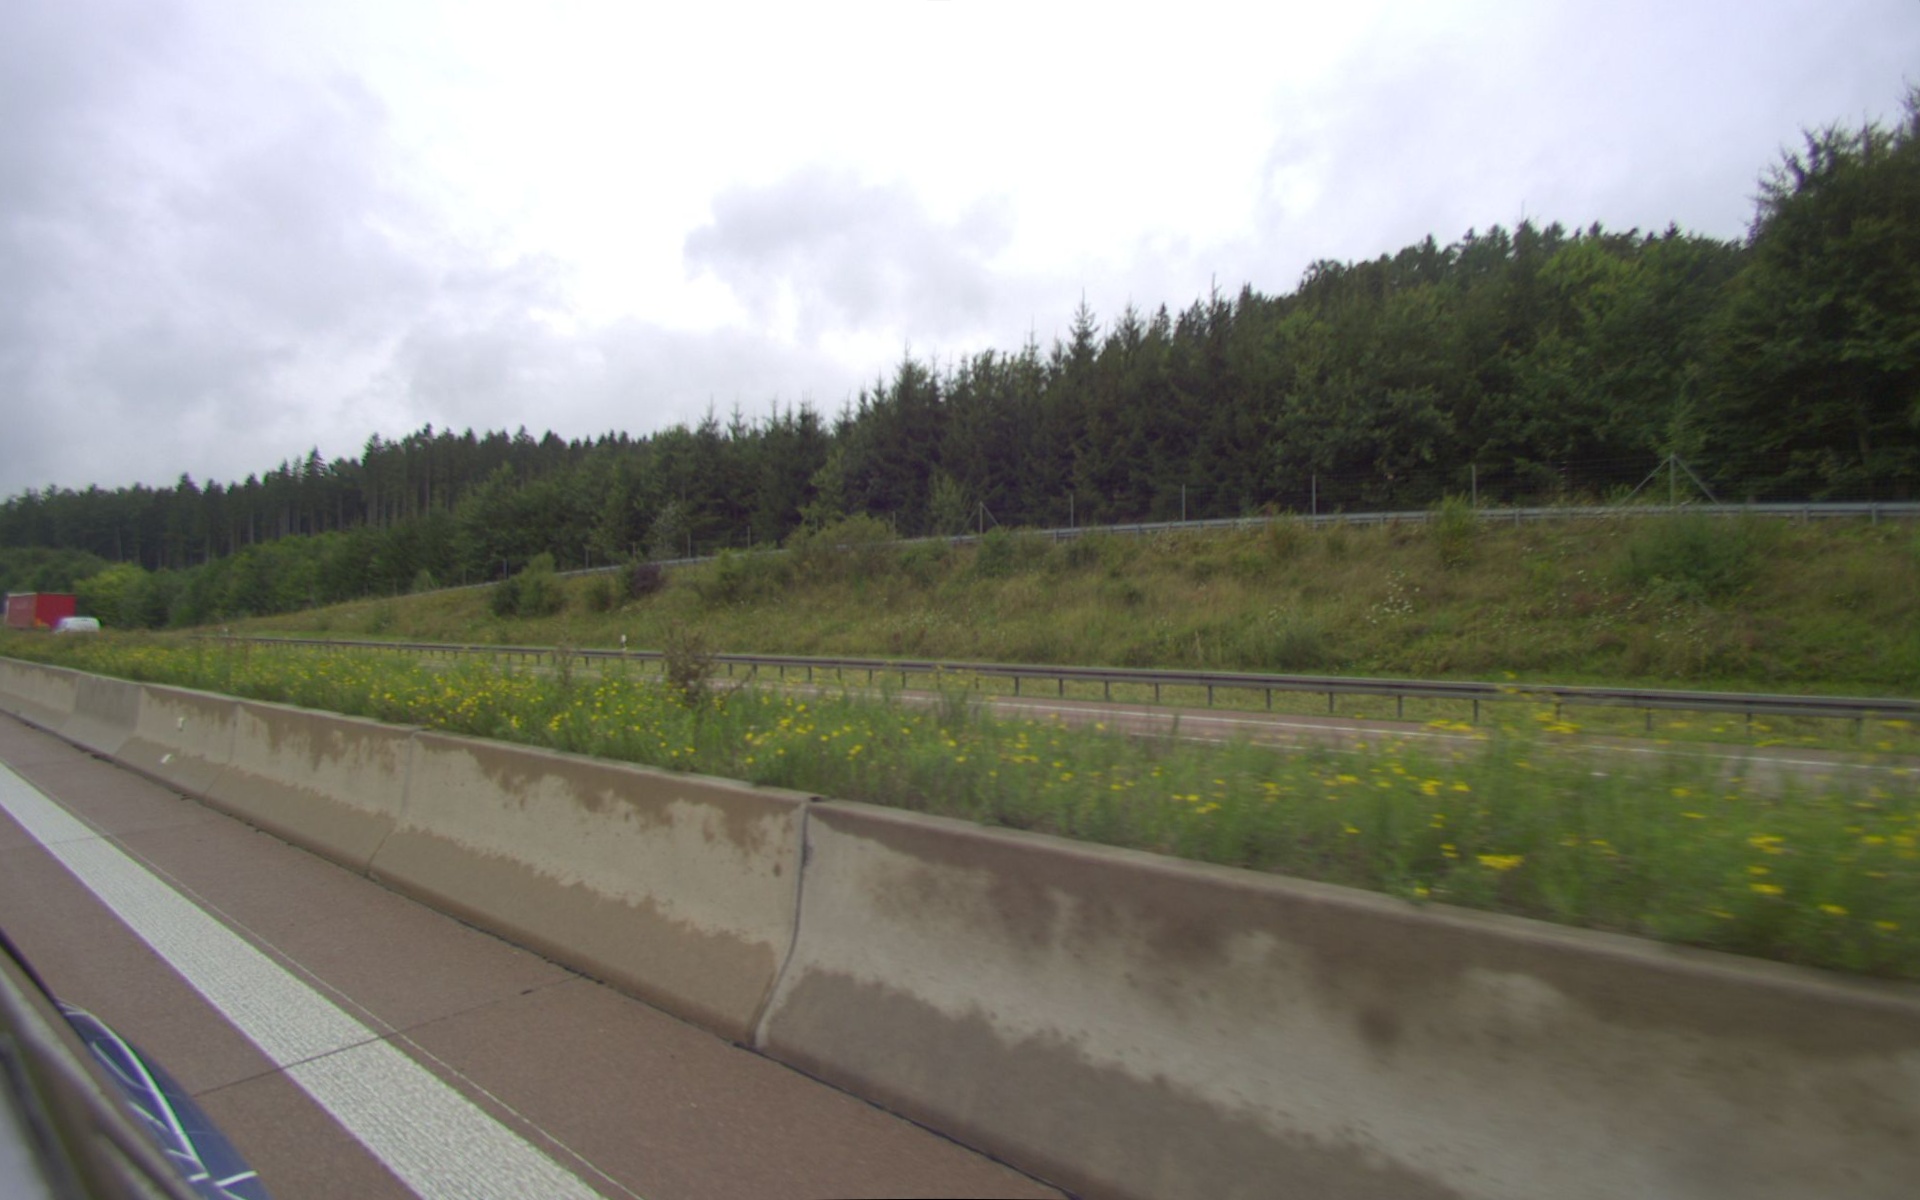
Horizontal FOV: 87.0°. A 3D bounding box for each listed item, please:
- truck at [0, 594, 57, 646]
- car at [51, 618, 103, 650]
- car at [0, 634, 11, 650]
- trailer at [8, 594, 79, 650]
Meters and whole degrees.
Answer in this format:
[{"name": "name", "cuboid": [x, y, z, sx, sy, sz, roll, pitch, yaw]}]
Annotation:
[{"name": "truck", "cuboid": [-84.213, 1.723, 91.424, 6.787, 4.511, 2.920, 0, 1, 40]}, {"name": "car", "cuboid": [-53.074, 1.989, 60.793, 4.760, 1.734, 1.716, 0, 1, 41]}, {"name": "car", "cuboid": [-103.531, 4.521, 108.580, 4.521, 1.587, 1.973, 0, -1, 40]}, {"name": "trailer", "cuboid": [-78.347, 1.760, 86.445, 11.766, 4.522, 2.911, 0, 1, 40]}]
